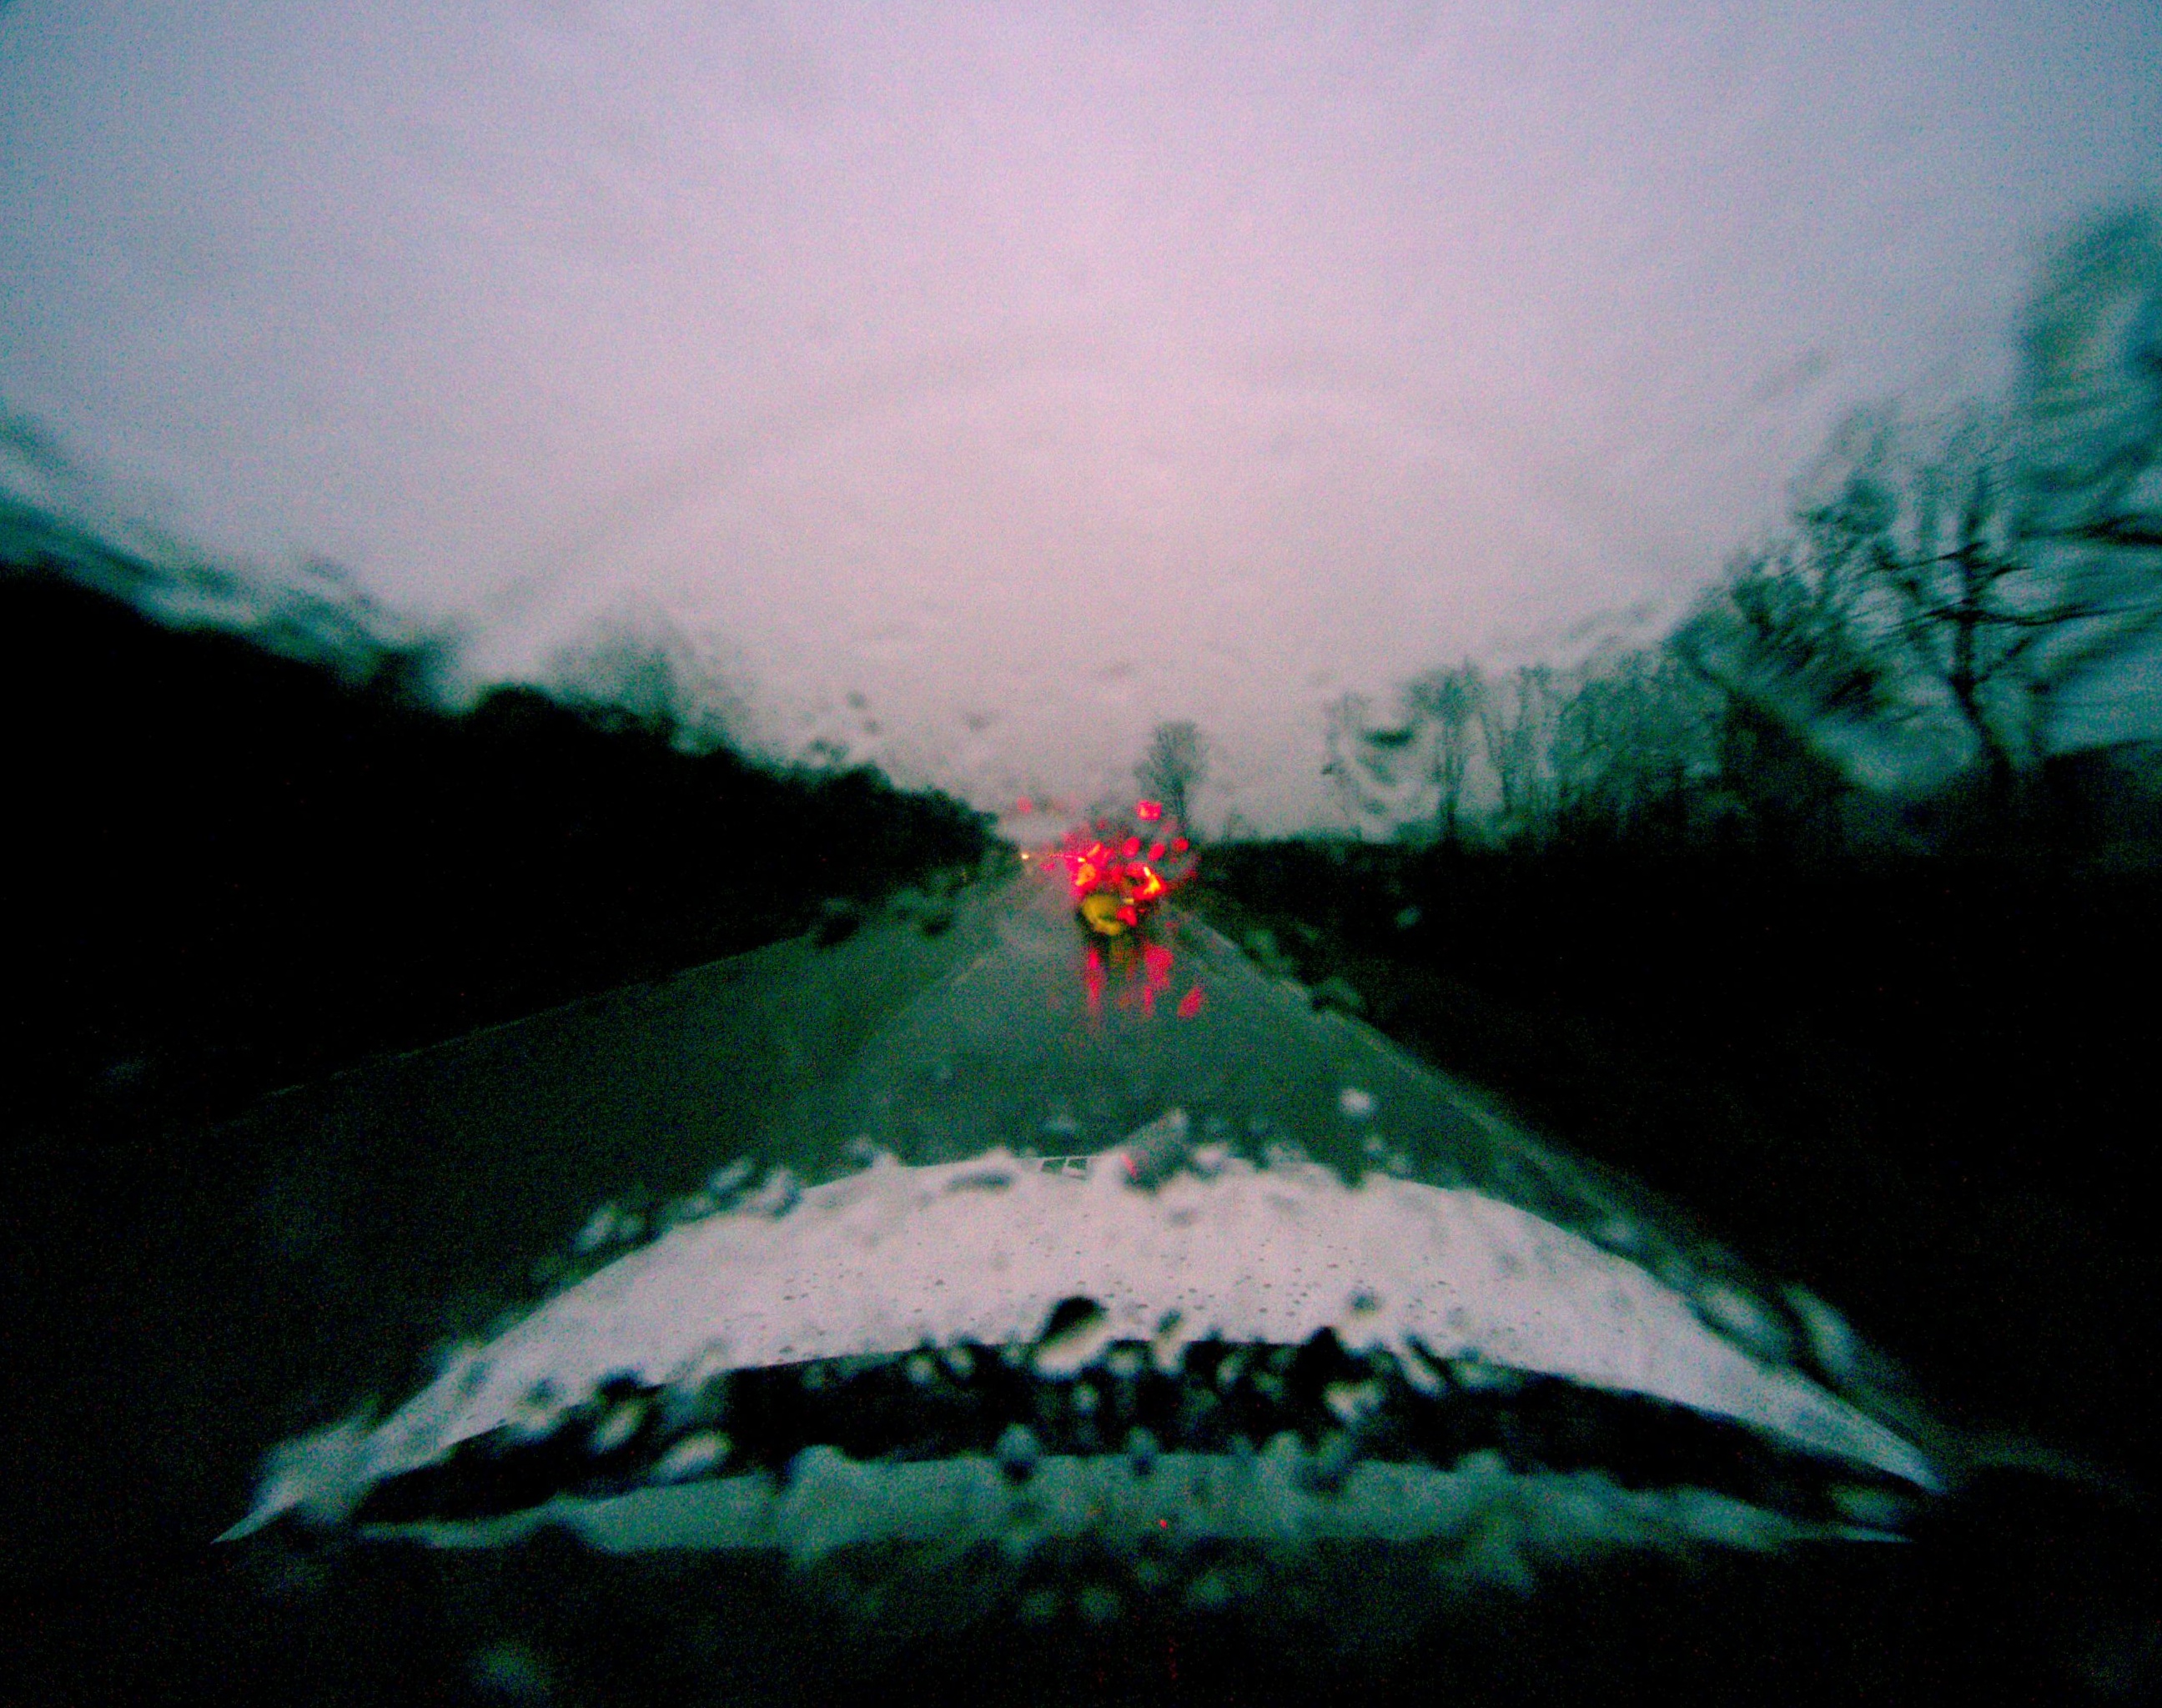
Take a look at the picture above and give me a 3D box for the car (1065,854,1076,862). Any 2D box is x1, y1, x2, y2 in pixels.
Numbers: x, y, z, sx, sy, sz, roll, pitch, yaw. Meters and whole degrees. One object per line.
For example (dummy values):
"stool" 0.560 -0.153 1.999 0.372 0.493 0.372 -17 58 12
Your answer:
"car" -1.782 0.677 137.793 1.539 1.396 3.875 -1 0 5

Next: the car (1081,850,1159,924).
"car" 0.937 0.682 18.823 1.595 1.522 3.873 -1 0 4

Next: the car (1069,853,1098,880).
"car" 0.187 0.670 45.968 1.541 1.396 3.870 -1 0 1
